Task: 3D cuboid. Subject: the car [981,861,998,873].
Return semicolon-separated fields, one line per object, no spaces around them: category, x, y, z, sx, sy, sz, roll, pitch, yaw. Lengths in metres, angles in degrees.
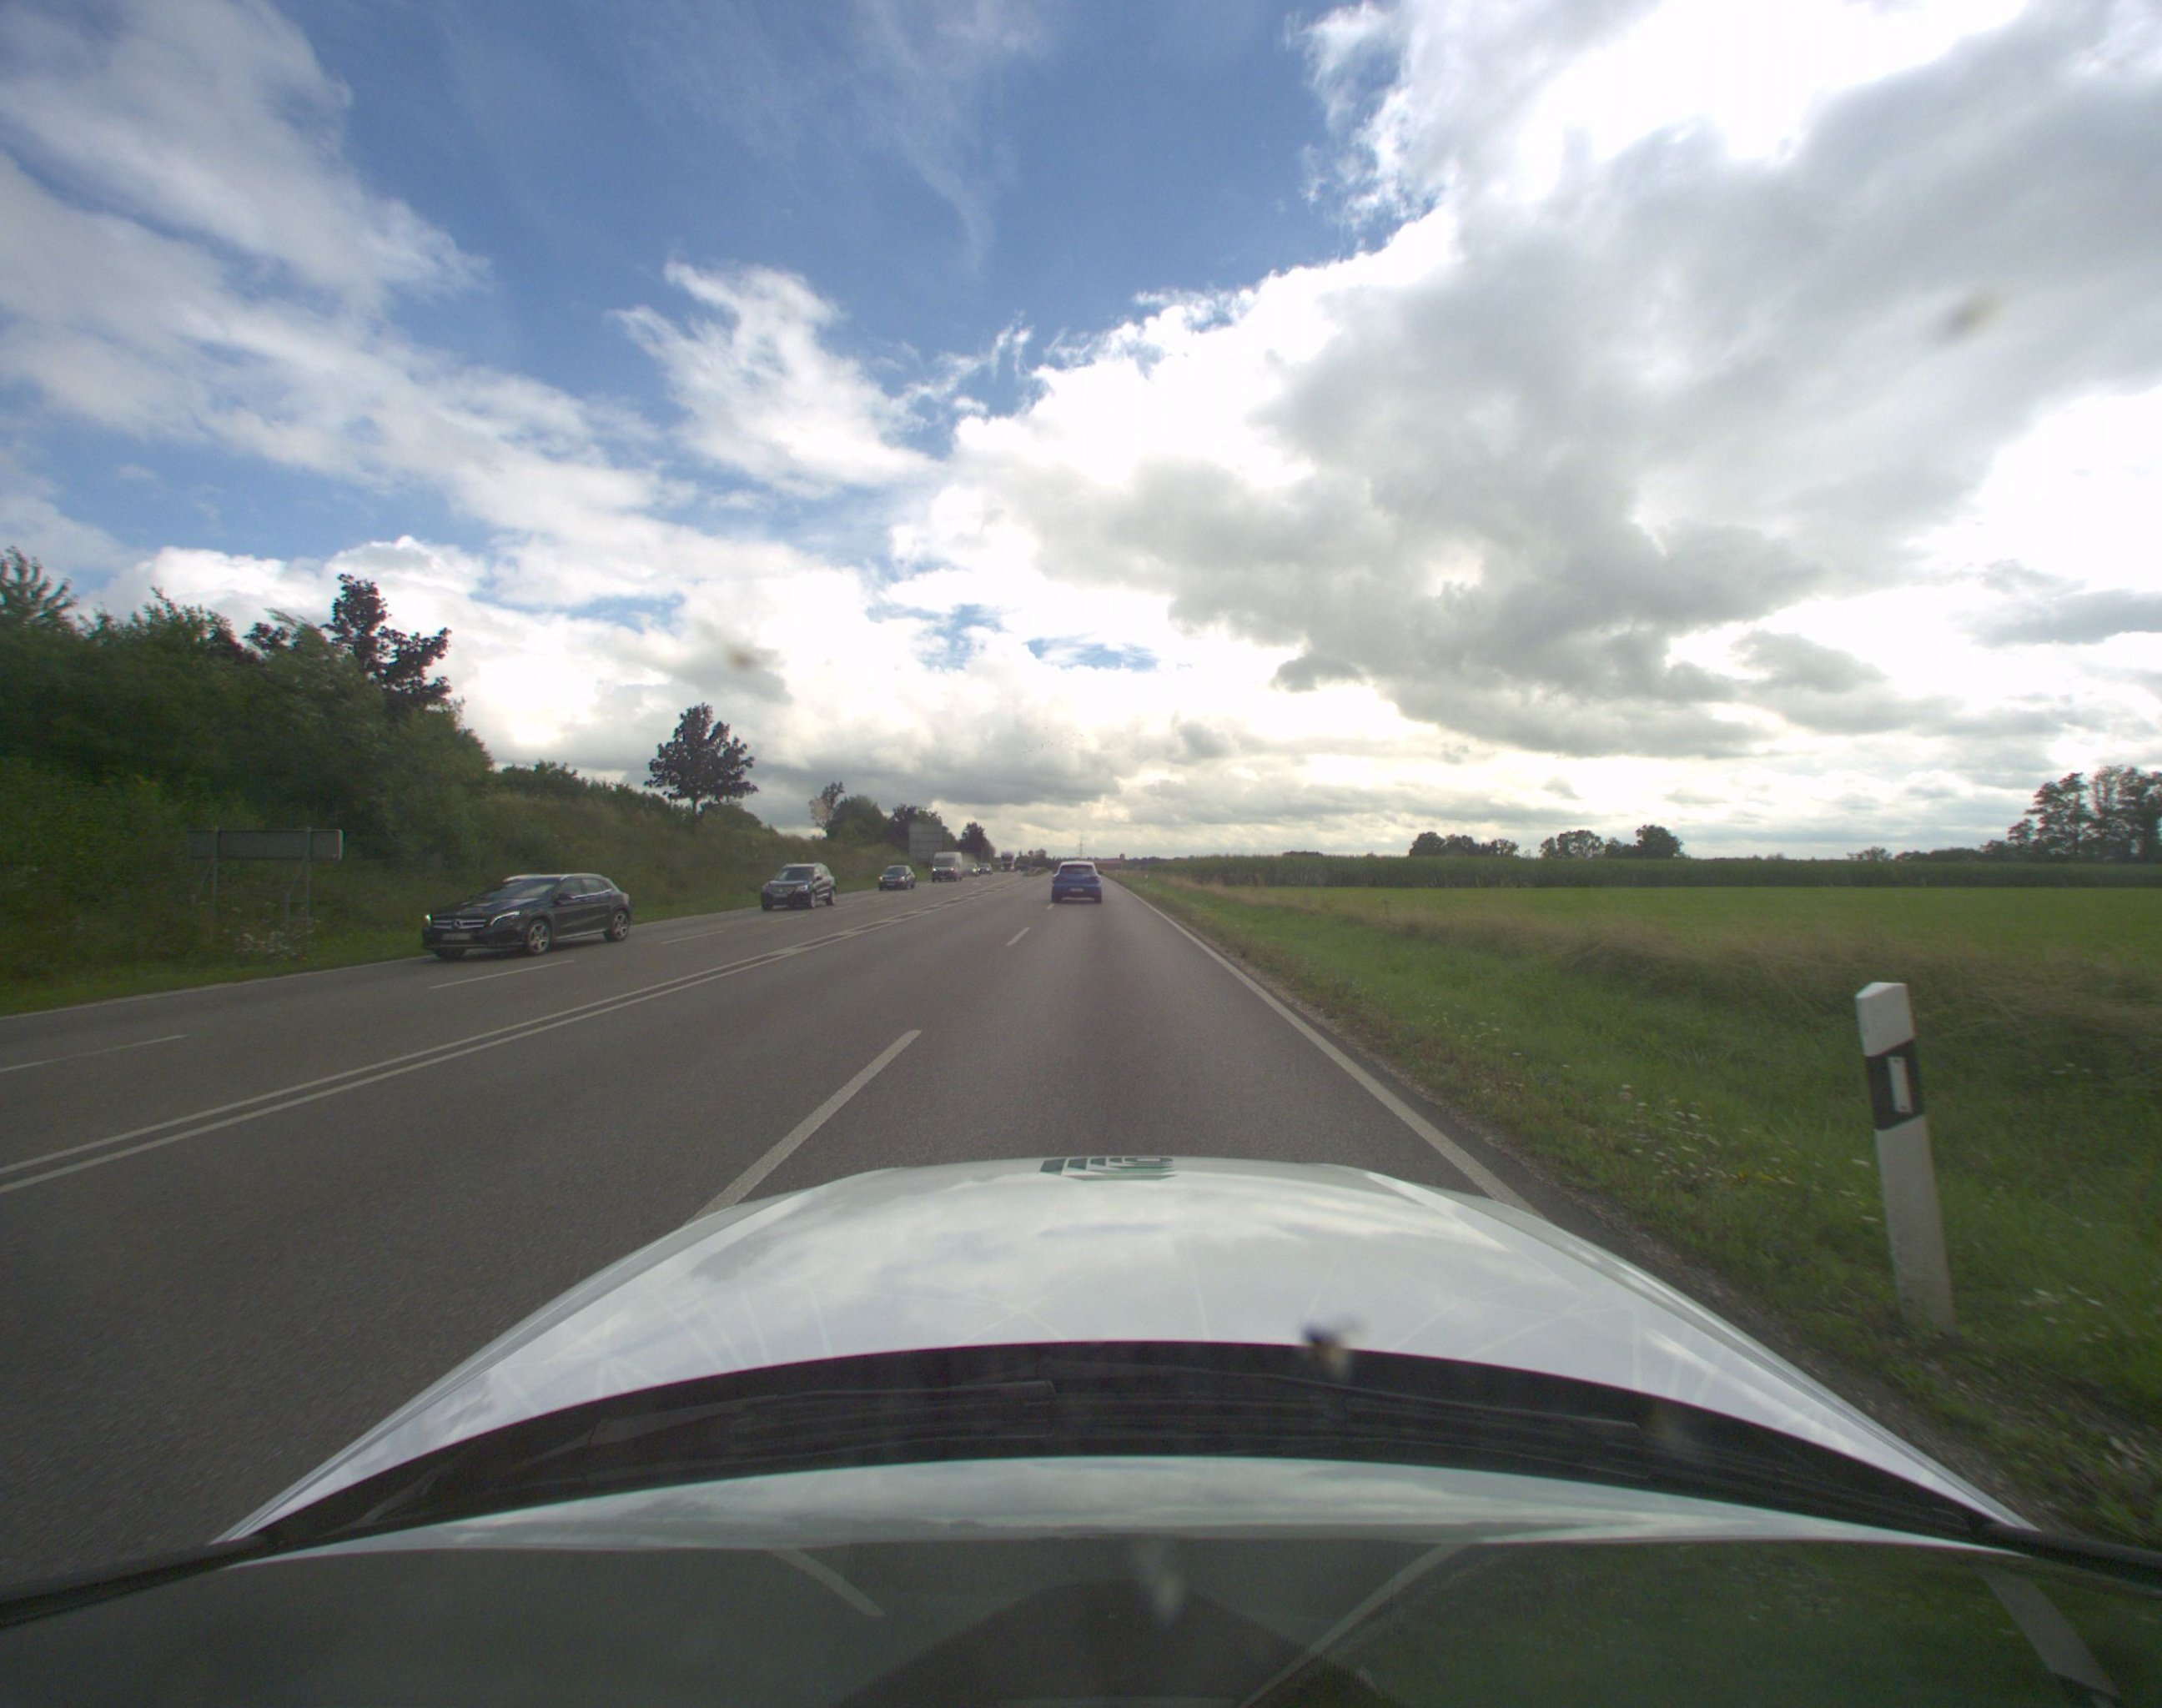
car;-11.782;1.645;104.830;1.727;1.530;4.191;-1;0;-1

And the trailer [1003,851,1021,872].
trailer;-13.867;1.470;163.907;2.767;3.947;12.976;1;0;-2

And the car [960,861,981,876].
car;-11.950;1.549;87.930;1.727;1.530;4.546;-1;0;-1

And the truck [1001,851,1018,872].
truck;-13.644;1.422;156.090;2.795;3.997;5.283;1;0;-1

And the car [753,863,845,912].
car;-10.526;1.197;30.808;1.788;1.634;4.516;-2;0;1

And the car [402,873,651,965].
car;-10.929;1.188;16.593;1.788;1.511;4.706;0;0;1

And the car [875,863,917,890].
car;-11.343;1.350;50.249;1.727;1.530;4.191;-1;0;-1

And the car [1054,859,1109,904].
car;-0.043;1.045;32.480;2.027;1.660;4.540;0;-1;-1

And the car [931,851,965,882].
car;-11.225;1.010;68.991;2.027;2.439;5.632;-1;0;-1
